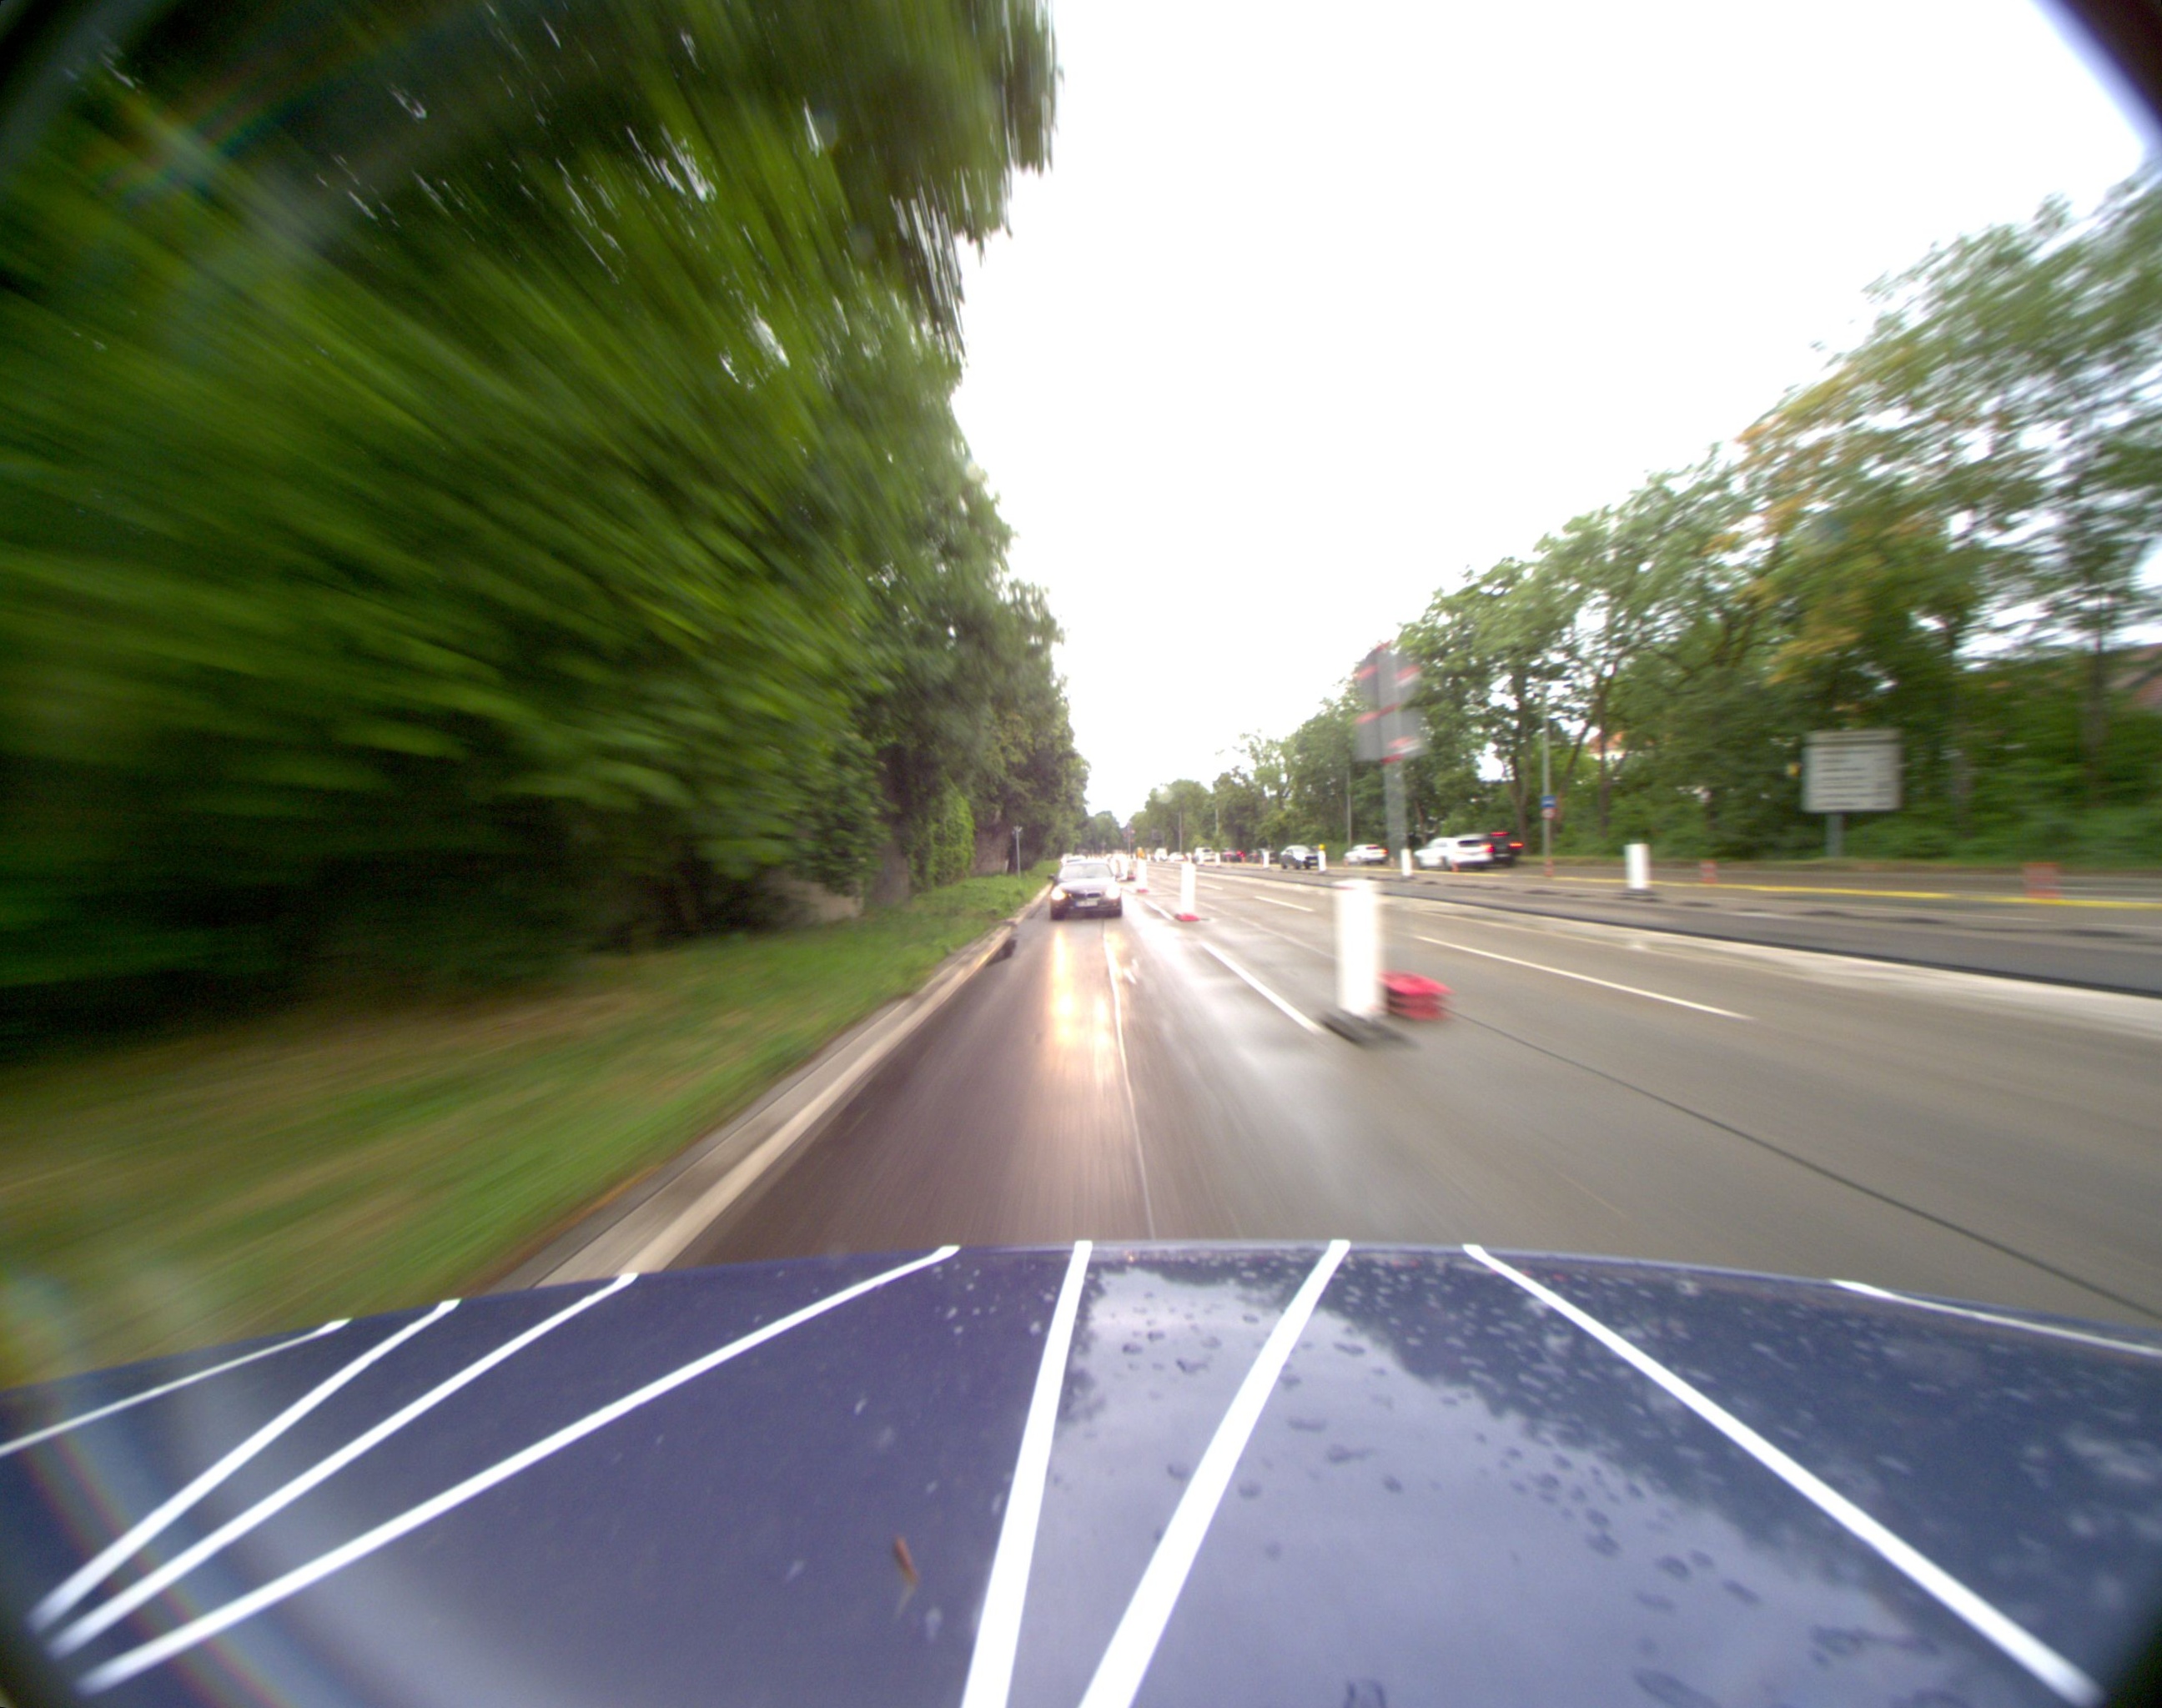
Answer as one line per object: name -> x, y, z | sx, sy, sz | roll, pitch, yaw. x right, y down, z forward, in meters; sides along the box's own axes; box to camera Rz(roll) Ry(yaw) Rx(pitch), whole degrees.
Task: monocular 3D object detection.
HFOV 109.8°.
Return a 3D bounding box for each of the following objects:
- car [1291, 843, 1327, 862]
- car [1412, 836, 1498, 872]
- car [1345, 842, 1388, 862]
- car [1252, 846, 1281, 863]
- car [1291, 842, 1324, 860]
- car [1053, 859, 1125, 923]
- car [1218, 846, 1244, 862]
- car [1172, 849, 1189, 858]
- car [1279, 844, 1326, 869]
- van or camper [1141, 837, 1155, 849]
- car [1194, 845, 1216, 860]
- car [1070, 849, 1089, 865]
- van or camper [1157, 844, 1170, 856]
car -> 18.535, -0.147, 61.822 | 1.683, 1.392, 4.012 | -2, 0, 0
car -> 18.843, -0.007, 38.548 | 1.895, 1.651, 4.893 | -2, 0, 0
car -> 21.466, -0.158, 57.267 | 1.683, 1.487, 4.148 | 0, 0, 0
car -> 18.208, 0.049, 74.797 | 1.781, 1.479, 4.196 | -2, 0, -1
car -> 21.284, -0.275, 71.639 | 1.707, 1.617, 4.418 | -2, 0, -1
car -> 0.135, 0.879, 19.855 | 1.658, 1.409, 4.128 | -1, 0, -2
car -> 17.915, 0.008, 90.803 | 2.026, 1.715, 5.012 | -3, 0, 0
car -> 16.623, -0.055, 126.777 | 1.999, 1.407, 4.391 | -1, 1, -4
car -> 15.472, 0.127, 53.372 | 1.998, 1.619, 4.812 | -2, 0, 2
van or camper -> 17.940, -2.932, 203.418 | 2.304, 3.045, 7.448 | -2, 1, -4
car -> 17.453, -0.211, 107.138 | 1.999, 1.960, 4.901 | -2, 0, -3
car -> -0.172, 0.320, 82.997 | 1.998, 1.707, 4.000 | -1, 1, 1
van or camper -> 18.608, -0.886, 171.892 | 1.999, 2.540, 7.728 | -3, 0, -1
